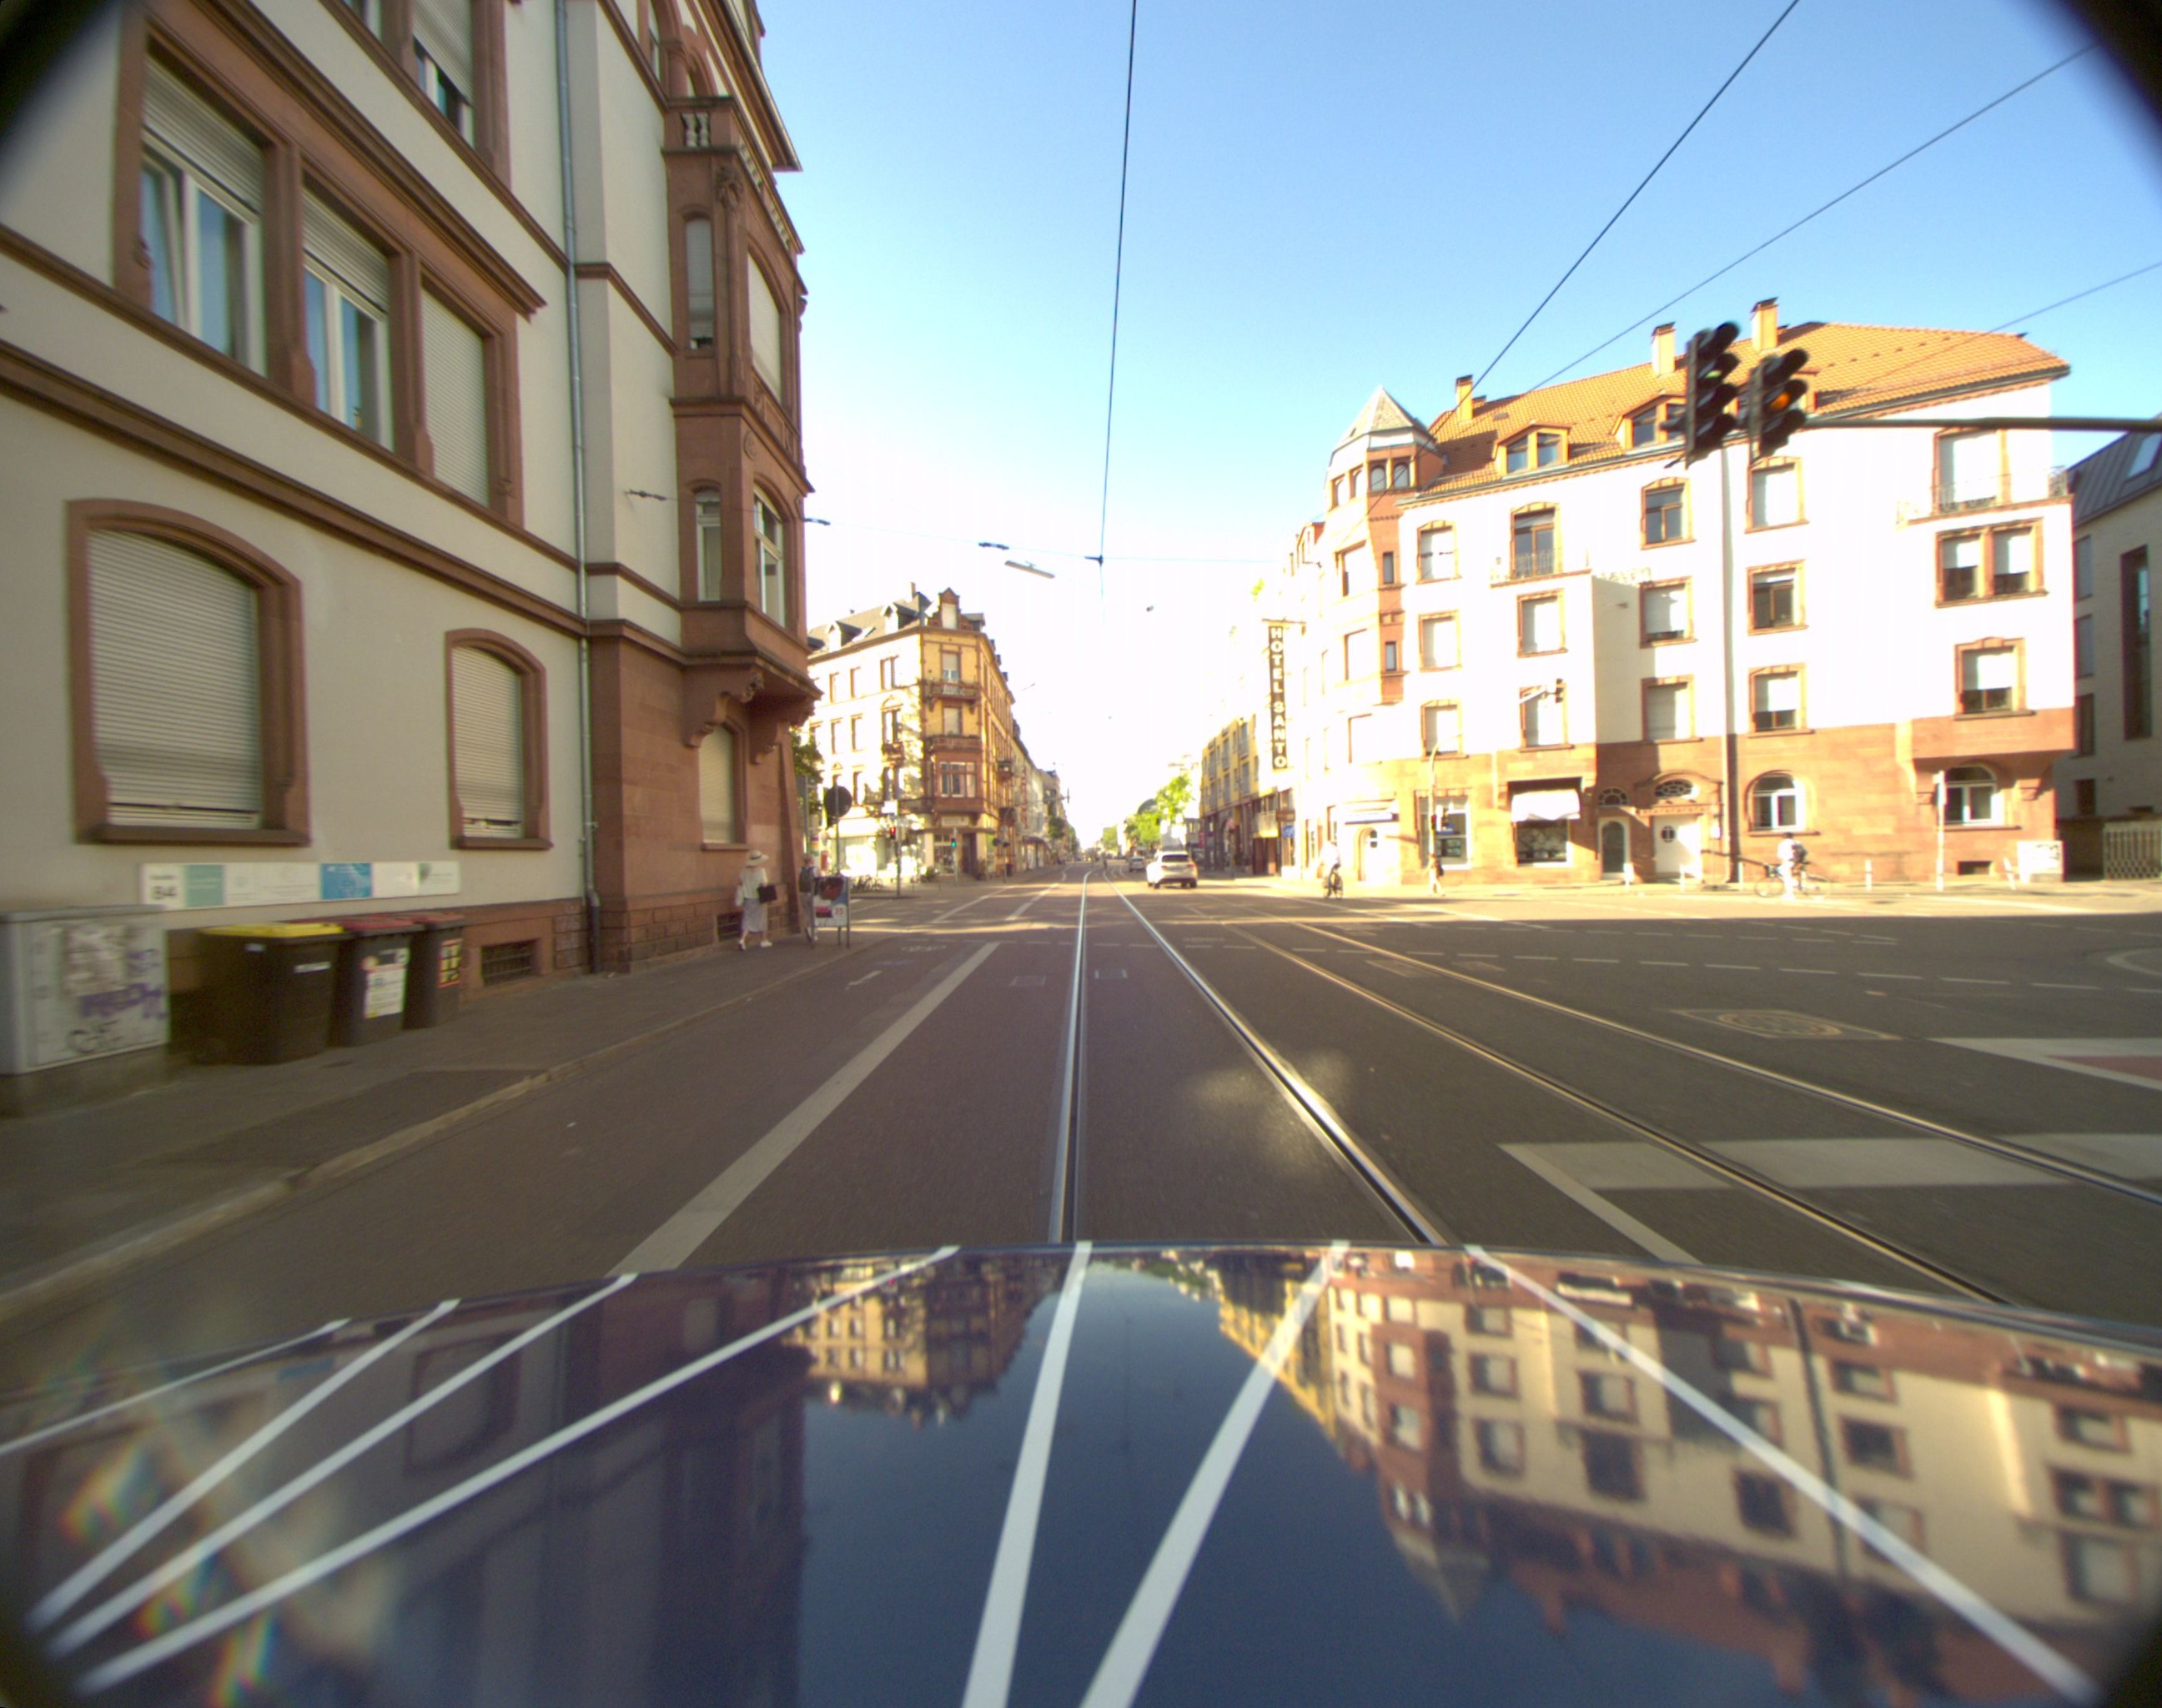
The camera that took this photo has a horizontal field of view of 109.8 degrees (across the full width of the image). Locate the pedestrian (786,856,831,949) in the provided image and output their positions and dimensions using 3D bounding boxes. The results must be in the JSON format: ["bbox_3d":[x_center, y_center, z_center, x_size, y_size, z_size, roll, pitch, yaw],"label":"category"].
[{"bbox_3d":[-5.114,0.896,14.278,0.628,1.691,0.682,-1,1,-9],"label":"pedestrian"}]

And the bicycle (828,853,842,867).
[{"bbox_3d":[-17.506,0.409,54.045,0.996,0.998,0.398,-1,1,36],"label":"bicycle"}]

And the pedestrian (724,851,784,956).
[{"bbox_3d":[-5.731,0.844,13.332,0.707,1.771,0.673,-2,0,-1],"label":"pedestrian"}]

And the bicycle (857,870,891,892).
[{"bbox_3d":[-11.706,1.511,43.019,0.617,1.136,2.123,-1,2,23],"label":"bicycle"}]

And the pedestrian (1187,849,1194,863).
[{"bbox_3d":[14.070,0.303,97.408,0.715,1.754,0.779,-1,1,-8],"label":"pedestrian"}]

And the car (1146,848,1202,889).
[{"bbox_3d":[4.296,0.625,35.810,1.999,1.734,4.562,-2,0,-1],"label":"car"}]

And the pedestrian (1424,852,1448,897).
[{"bbox_3d":[12.324,0.714,26.408,0.544,1.543,0.516,-2,1,-1],"label":"pedestrian"}]

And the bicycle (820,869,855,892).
[{"bbox_3d":[-13.988,1.502,43.713,0.617,1.136,2.123,-1,3,23],"label":"bicycle"}]

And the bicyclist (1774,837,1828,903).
[{"bbox_3d":[19.805,0.429,20.906,0.617,1.753,0.971,-2,1,-39],"label":"bicyclist"}]

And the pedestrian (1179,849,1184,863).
[{"bbox_3d":[13.390,0.265,101.226,0.639,1.935,0.709,-1,1,-1],"label":"pedestrian"}]

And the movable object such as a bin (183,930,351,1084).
[{"bbox_3d":[-6.276,1.159,5.891,0.667,1.071,0.571,0,1,-1],"label":"movable object such as a bin"}]

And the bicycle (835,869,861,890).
[{"bbox_3d":[-14.160,1.545,46.241,0.543,1.136,1.619,-1,3,23],"label":"bicycle"}]

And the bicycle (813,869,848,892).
[{"bbox_3d":[-14.512,1.538,44.070,0.617,1.136,2.123,-1,3,23],"label":"bicycle"}]

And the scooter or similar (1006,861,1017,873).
[{"bbox_3d":[-5.720,1.052,62.861,0.792,0.952,0.680,3,0,-1],"label":"scooter or similar"}]

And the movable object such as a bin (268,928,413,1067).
[{"bbox_3d":[-6.301,1.200,6.494,0.667,1.070,0.571,0,0,-1],"label":"movable object such as a bin"}]

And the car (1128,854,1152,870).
[{"bbox_3d":[5.762,0.723,74.836,1.990,1.493,4.308,-1,0,0],"label":"car"}]

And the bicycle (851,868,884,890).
[{"bbox_3d":[-12.122,1.421,43.236,0.617,1.136,2.123,-1,1,23],"label":"bicycle"}]

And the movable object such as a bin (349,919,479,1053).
[{"bbox_3d":[-6.238,1.211,7.137,0.667,1.147,0.594,-1,0,-1],"label":"movable object such as a bin"}]

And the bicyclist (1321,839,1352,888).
[{"bbox_3d":[8.008,0.291,23.840,0.684,1.475,0.778,-1,1,-1],"label":"bicyclist"}]

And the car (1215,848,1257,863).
[{"bbox_3d":[16.854,0.141,82.683,4.244,1.540,1.784,-1,2,0],"label":"car"}]

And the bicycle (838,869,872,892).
[{"bbox_3d":[-12.813,1.495,43.170,0.617,1.136,2.123,-1,3,23],"label":"bicycle"}]

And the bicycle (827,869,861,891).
[{"bbox_3d":[-13.522,1.471,43.422,0.617,1.136,2.123,-1,3,23],"label":"bicycle"}]

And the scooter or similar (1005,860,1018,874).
[{"bbox_3d":[-5.576,1.049,61.123,0.899,1.142,0.547,3,1,-1],"label":"scooter or similar"}]

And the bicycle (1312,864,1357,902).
[{"bbox_3d":[7.968,0.885,23.981,0.694,1.114,2.083,-1,0,0],"label":"bicycle"}]

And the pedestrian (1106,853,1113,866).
[{"bbox_3d":[3.530,0.640,94.233,0.781,1.551,0.650,-1,1,0],"label":"pedestrian"}]

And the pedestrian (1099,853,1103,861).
[{"bbox_3d":[4.071,0.615,156.579,0.716,1.635,0.400,-1,1,3],"label":"pedestrian"}]

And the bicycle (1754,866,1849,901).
[{"bbox_3d":[19.822,0.793,20.933,0.793,0.904,1.809,-2,0,-39],"label":"bicycle"}]
